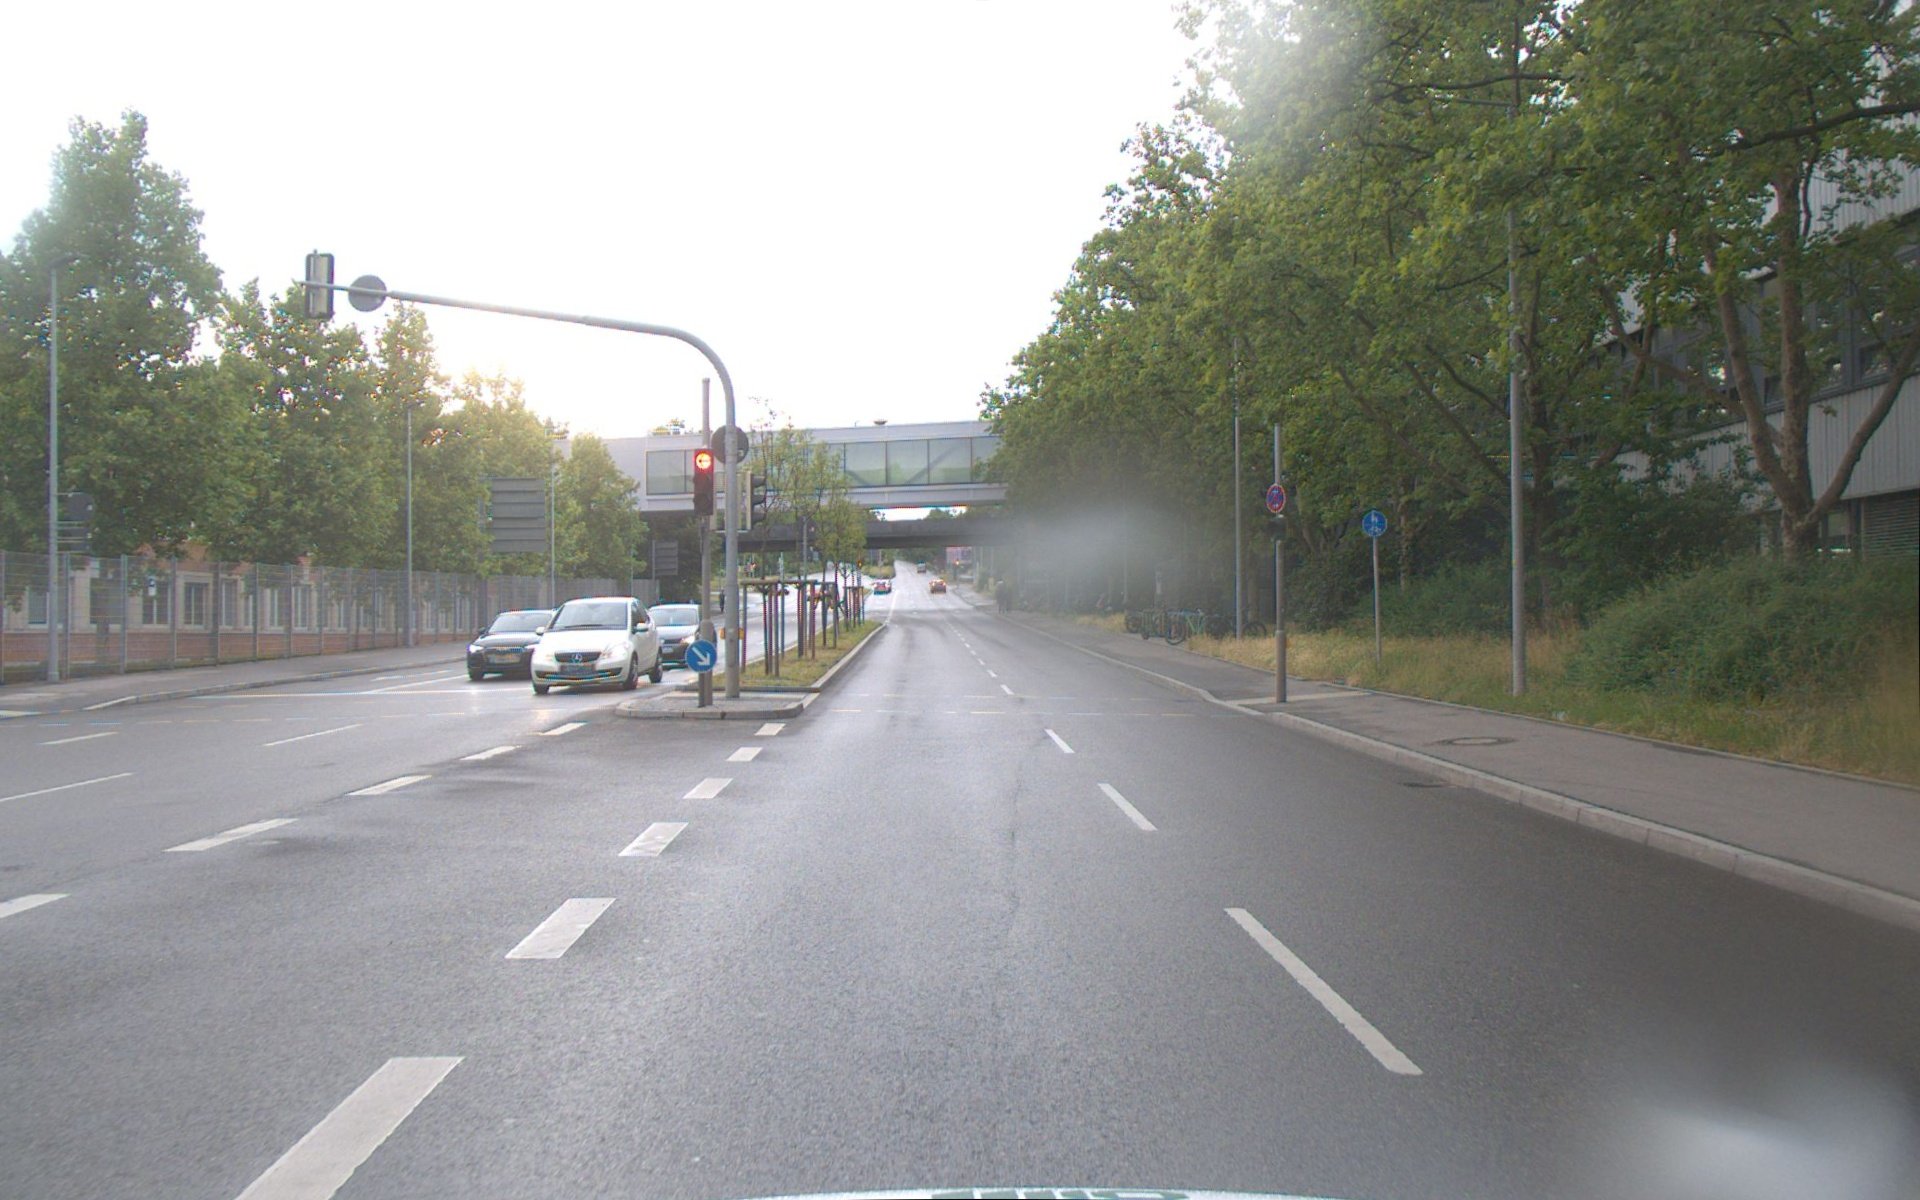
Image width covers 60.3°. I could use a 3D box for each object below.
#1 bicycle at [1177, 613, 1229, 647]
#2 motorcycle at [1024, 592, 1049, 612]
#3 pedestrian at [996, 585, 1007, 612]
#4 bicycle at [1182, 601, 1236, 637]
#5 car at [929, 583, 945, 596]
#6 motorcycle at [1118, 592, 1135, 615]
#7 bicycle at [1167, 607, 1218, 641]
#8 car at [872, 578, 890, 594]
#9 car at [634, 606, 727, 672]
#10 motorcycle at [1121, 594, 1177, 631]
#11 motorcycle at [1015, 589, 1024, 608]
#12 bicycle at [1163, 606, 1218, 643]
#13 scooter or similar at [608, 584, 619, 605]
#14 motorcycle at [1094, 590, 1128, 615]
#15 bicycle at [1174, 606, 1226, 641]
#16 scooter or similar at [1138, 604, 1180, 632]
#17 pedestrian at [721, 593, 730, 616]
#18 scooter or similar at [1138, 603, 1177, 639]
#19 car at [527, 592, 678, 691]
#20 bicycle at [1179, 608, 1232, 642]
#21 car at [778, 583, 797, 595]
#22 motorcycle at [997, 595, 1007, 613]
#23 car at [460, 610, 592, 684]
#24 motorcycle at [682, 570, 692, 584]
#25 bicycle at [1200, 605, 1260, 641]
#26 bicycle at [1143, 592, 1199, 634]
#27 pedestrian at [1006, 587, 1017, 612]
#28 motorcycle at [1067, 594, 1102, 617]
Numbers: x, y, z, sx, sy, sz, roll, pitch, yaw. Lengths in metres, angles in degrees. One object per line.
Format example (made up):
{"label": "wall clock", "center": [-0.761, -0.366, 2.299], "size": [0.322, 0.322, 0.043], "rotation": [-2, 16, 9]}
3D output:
{"label": "bicycle", "center": [7.444, 0.908, 50.636], "size": [1.520, 0.975, 0.393], "rotation": [-2, 0, -2]}
{"label": "motorcycle", "center": [5.240, 0.159, 113.062], "size": [0.542, 1.320, 1.916], "rotation": [-1, 0, -39]}
{"label": "pedestrian", "center": [2.762, -0.089, 109.922], "size": [0.598, 1.751, 0.892], "rotation": [-1, 0, 8]}
{"label": "bicycle", "center": [7.435, 0.560, 49.320], "size": [1.520, 1.022, 0.393], "rotation": [-2, 0, -2]}
{"label": "car", "center": [-2.715, -1.248, 195.297], "size": [1.710, 1.495, 4.164], "rotation": [0, 1, -3]}
{"label": "motorcycle", "center": [9.508, 0.205, 94.519], "size": [0.632, 1.302, 1.990], "rotation": [-1, 0, -2]}
{"label": "bicycle", "center": [7.330, 0.744, 52.119], "size": [1.520, 1.022, 0.393], "rotation": [-2, 0, -2]}
{"label": "car", "center": [-9.332, -1.630, 195.211], "size": [2.035, 1.748, 4.195], "rotation": [1, 0, -4]}
{"label": "car", "center": [-6.542, 0.873, 39.038], "size": [1.546, 1.428, 4.110], "rotation": [-2, 0, -1]}
{"label": "motorcycle", "center": [6.862, 0.461, 59.966], "size": [1.966, 1.295, 0.442], "rotation": [-2, 0, 10]}
{"label": "motorcycle", "center": [4.108, -0.100, 114.350], "size": [0.459, 1.234, 1.946], "rotation": [-1, 0, 7]}
{"label": "bicycle", "center": [6.737, 0.718, 48.291], "size": [1.520, 1.022, 0.393], "rotation": [-2, 0, -2]}
{"label": "scooter or similar", "center": [-20.827, -0.318, 99.530], "size": [0.305, 1.239, 1.308], "rotation": [-1, 0, 3]}
{"label": "motorcycle", "center": [7.247, 0.115, 79.527], "size": [1.618, 1.170, 0.493], "rotation": [1, -1, 6]}
{"label": "bicycle", "center": [7.434, 0.725, 51.303], "size": [1.520, 1.022, 0.393], "rotation": [-2, 0, -2]}
{"label": "scooter or similar", "center": [7.011, 0.634, 58.322], "size": [1.450, 0.953, 0.364], "rotation": [-2, 0, -19]}
{"label": "pedestrian", "center": [-18.884, 0.351, 133.169], "size": [0.508, 1.847, 0.800], "rotation": [0, 1, 8]}
{"label": "scooter or similar", "center": [6.361, 0.666, 53.203], "size": [1.189, 1.110, 0.312], "rotation": [-2, 0, -6]}
{"label": "car", "center": [-6.391, 0.709, 30.050], "size": [1.735, 1.617, 4.484], "rotation": [-2, 0, 0]}
{"label": "bicycle", "center": [7.467, 0.756, 50.242], "size": [1.520, 0.975, 0.393], "rotation": [-2, 0, -2]}
{"label": "car", "center": [-21.246, -1.343, 204.100], "size": [2.023, 1.385, 4.754], "rotation": [-1, 1, -3]}
{"label": "motorcycle", "center": [2.792, 0.250, 109.938], "size": [0.460, 1.156, 1.818], "rotation": [-1, 0, -2]}
{"label": "car", "center": [-9.441, 0.984, 36.323], "size": [1.737, 1.428, 4.613], "rotation": [-2, 0, -1]}
{"label": "motorcycle", "center": [-22.086, -1.860, 133.798], "size": [0.459, 1.179, 1.933], "rotation": [-1, 1, 1]}
{"label": "bicycle", "center": [7.593, 0.643, 46.520], "size": [1.575, 0.956, 0.387], "rotation": [-2, 0, -2]}
{"label": "bicycle", "center": [7.187, 0.435, 56.325], "size": [1.826, 1.372, 0.446], "rotation": [-2, 0, -14]}
{"label": "pedestrian", "center": [3.420, -0.032, 109.836], "size": [0.636, 1.624, 0.579], "rotation": [-1, 0, 10]}
{"label": "motorcycle", "center": [6.720, 0.291, 89.534], "size": [1.819, 1.212, 0.519], "rotation": [-1, 0, -18]}
